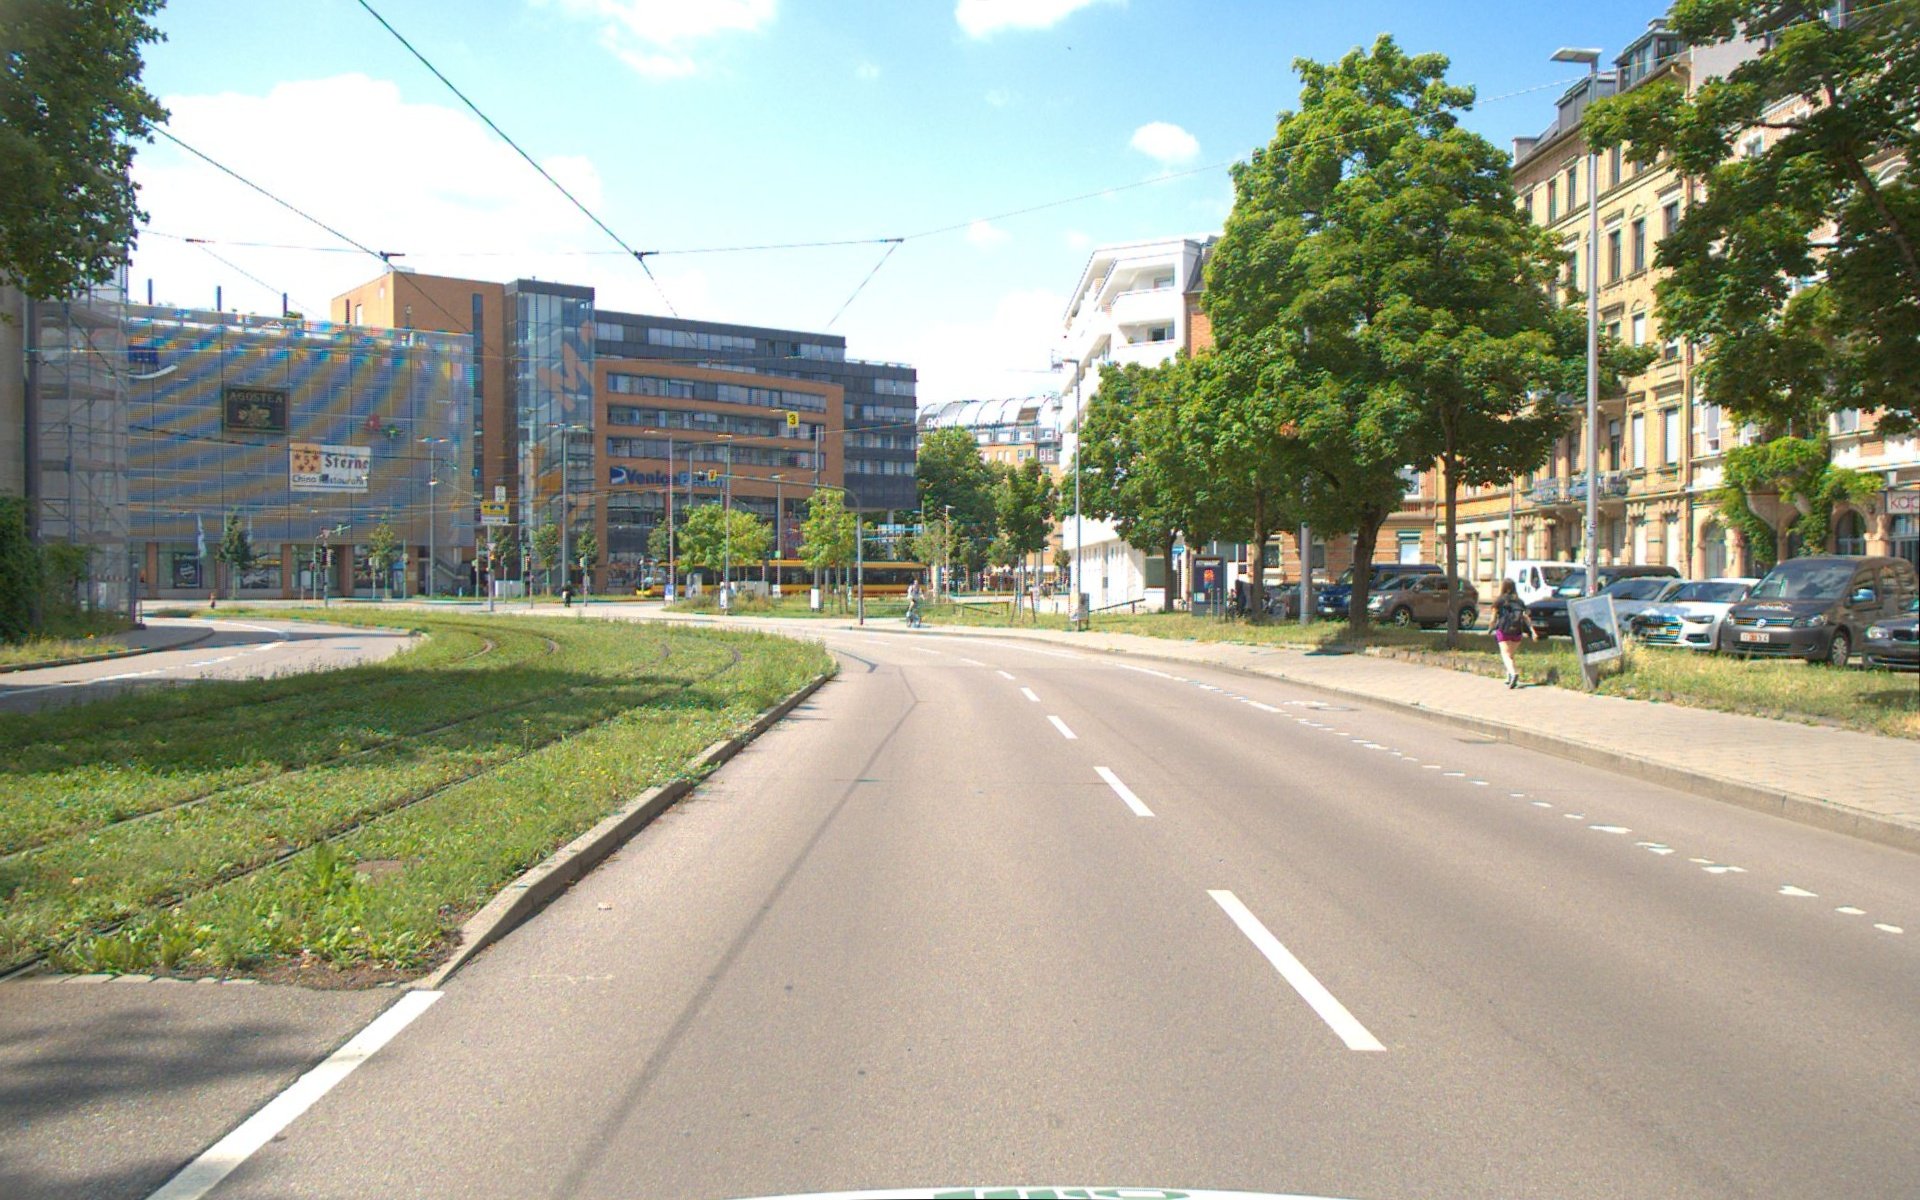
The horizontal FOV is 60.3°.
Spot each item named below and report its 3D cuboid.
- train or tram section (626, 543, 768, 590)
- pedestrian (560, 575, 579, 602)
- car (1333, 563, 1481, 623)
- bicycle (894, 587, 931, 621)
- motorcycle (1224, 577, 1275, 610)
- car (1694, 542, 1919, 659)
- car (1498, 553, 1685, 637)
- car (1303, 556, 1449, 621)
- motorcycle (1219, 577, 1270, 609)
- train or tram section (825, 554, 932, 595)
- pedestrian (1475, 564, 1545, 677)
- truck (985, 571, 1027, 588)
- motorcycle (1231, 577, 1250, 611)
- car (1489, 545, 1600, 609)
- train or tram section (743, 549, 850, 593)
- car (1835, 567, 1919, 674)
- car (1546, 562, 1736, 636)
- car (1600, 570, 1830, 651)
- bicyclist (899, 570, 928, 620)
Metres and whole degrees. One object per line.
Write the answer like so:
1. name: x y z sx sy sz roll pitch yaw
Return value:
1. train or tram section: -22.482 -2.793 142.429 3.166 3.662 13.432 1 0 39
2. pedestrian: -24.936 -0.725 105.592 0.897 1.732 0.808 0 1 23
3. car: 13.459 -0.205 49.769 4.113 1.685 1.899 1 0 -28
4. bicycle: -1.818 0.142 63.231 0.685 1.264 1.823 -3 2 -27
5. motorcycle: 10.568 -0.237 60.445 1.747 1.187 0.639 0 0 -3
6. car: 13.980 0.022 26.977 4.320 1.771 1.828 1 0 -38
7. car: 14.176 -0.106 37.101 4.096 1.771 1.832 1 0 -32
8. car: 13.281 -0.361 52.755 4.570 1.961 1.896 1 0 -32
9. motorcycle: 10.533 -0.251 61.266 1.747 1.187 0.639 0 0 -3
10. train or tram section: -7.797 -2.434 160.993 3.005 3.684 12.581 1 0 37
11. pedestrian: 8.108 0.296 24.408 0.686 1.620 0.905 1 0 -2
12. truck: 6.029 -2.656 216.008 5.418 2.122 1.991 1 0 39
13. motorcycle: 9.805 -0.217 57.759 0.624 1.187 1.908 0 1 11
14. car: 21.313 -0.814 60.564 2.068 2.216 5.393 1 0 -1
15. train or tram section: -14.901 -2.615 151.694 3.007 3.666 10.938 1 0 39
16. car: 14.148 0.293 23.104 4.224 1.404 1.828 1 0 -38
17. car: 14.068 -0.016 34.099 4.040 1.430 1.829 1 0 -37
18. car: 14.062 0.203 30.710 4.640 1.404 1.829 1 0 -36
19. bicyclist: -1.784 -0.202 63.133 0.686 1.856 0.948 -3 2 -27
